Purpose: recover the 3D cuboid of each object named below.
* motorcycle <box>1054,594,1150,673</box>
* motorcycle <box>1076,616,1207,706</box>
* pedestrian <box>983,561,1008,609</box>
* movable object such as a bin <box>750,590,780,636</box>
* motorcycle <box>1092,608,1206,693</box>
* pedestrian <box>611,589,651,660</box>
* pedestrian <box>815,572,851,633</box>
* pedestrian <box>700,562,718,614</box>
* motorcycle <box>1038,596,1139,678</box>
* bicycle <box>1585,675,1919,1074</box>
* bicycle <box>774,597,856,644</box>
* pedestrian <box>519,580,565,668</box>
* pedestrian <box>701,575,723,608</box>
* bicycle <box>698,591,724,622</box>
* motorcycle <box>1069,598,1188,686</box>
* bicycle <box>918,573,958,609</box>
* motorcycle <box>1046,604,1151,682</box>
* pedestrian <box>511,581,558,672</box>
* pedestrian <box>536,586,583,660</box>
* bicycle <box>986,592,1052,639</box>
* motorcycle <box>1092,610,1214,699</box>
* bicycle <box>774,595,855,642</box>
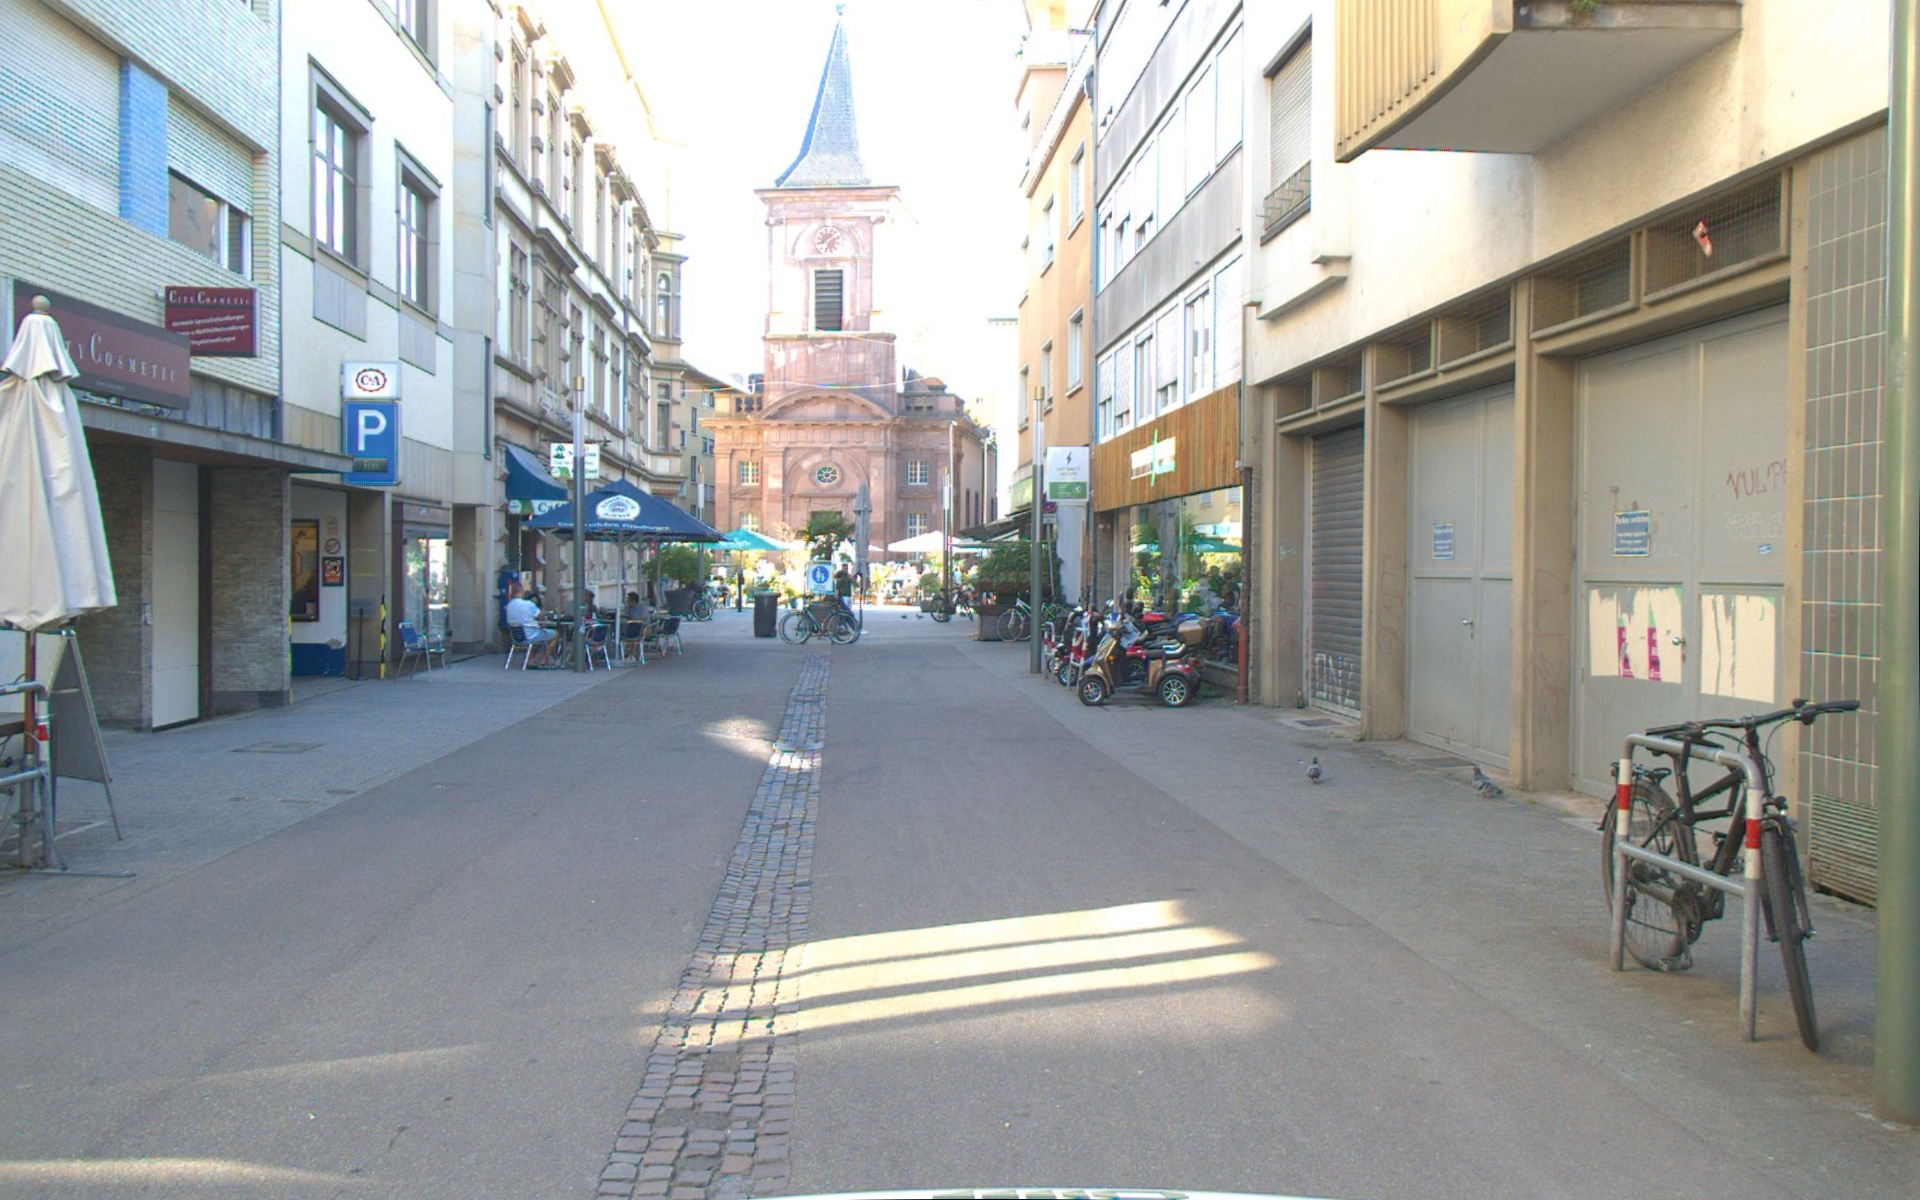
[{"bbox_3d":[2.208,0.519,25.660,1.452,1.202,0.412,0,0,11],"label":"motorcycle"},{"bbox_3d":[2.187,0.729,19.959,1.530,1.060,0.373,0,0,14],"label":"motorcycle"},{"bbox_3d":[1.251,-0.518,57.903,0.644,1.669,0.610,1,1,35],"label":"pedestrian"},{"bbox_3d":[-4.684,0.306,39.692,0.707,1.093,0.374,0,1,-6],"label":"movable object such as a bin"},{"bbox_3d":[2.483,0.652,21.707,1.452,1.094,0.412,0,0,14],"label":"motorcycle"},{"bbox_3d":[-5.841,0.420,29.336,0.680,1.236,0.581,0,1,-13],"label":"pedestrian"},{"bbox_3d":[-3.144,0.061,41.073,0.866,1.489,0.730,0,1,-4],"label":"pedestrian"},{"bbox_3d":[-9.072,-0.437,59.759,0.603,1.840,0.614,0,1,-9],"label":"pedestrian"},{"bbox_3d":[1.909,0.542,24.563,1.452,1.202,0.412,0,0,11],"label":"motorcycle"},{"bbox_3d":[2.791,0.889,5.971,0.437,1.160,1.710,1,0,1],"label":"bicycle"},{"bbox_3d":[-3.203,0.445,36.586,1.789,1.022,0.380,0,1,-8],"label":"bicycle"},{"bbox_3d":[-6.785,0.376,26.819,0.706,1.392,0.707,0,1,-16],"label":"pedestrian"},{"bbox_3d":[-9.386,-0.335,62.566,0.686,1.239,0.720,0,1,1],"label":"pedestrian"},{"bbox_3d":[-7.305,0.195,48.562,0.447,0.864,2.146,0,1,-1],"label":"bicycle"},{"bbox_3d":[2.343,0.570,22.948,1.590,1.195,0.481,0,0,14],"label":"motorcycle"},{"bbox_3d":[-0.839,-0.336,62.588,1.572,1.331,0.361,0,1,-34],"label":"bicycle"},{"bbox_3d":[1.981,0.605,23.673,1.452,1.094,0.412,0,0,14],"label":"motorcycle"},{"bbox_3d":[-6.667,0.398,25.909,0.696,1.392,0.717,0,1,-16],"label":"pedestrian"},{"bbox_3d":[-6.905,0.385,28.537,0.751,1.254,0.829,0,1,-12],"label":"pedestrian"},{"bbox_3d":[1.298,0.337,36.437,1.433,1.022,0.573,0,1,2],"label":"bicycle"},{"bbox_3d":[2.424,0.672,20.743,1.484,1.094,0.412,0,0,14],"label":"motorcycle"},{"bbox_3d":[-3.248,0.413,36.974,1.789,1.022,0.380,0,1,-8],"label":"bicycle"}]
